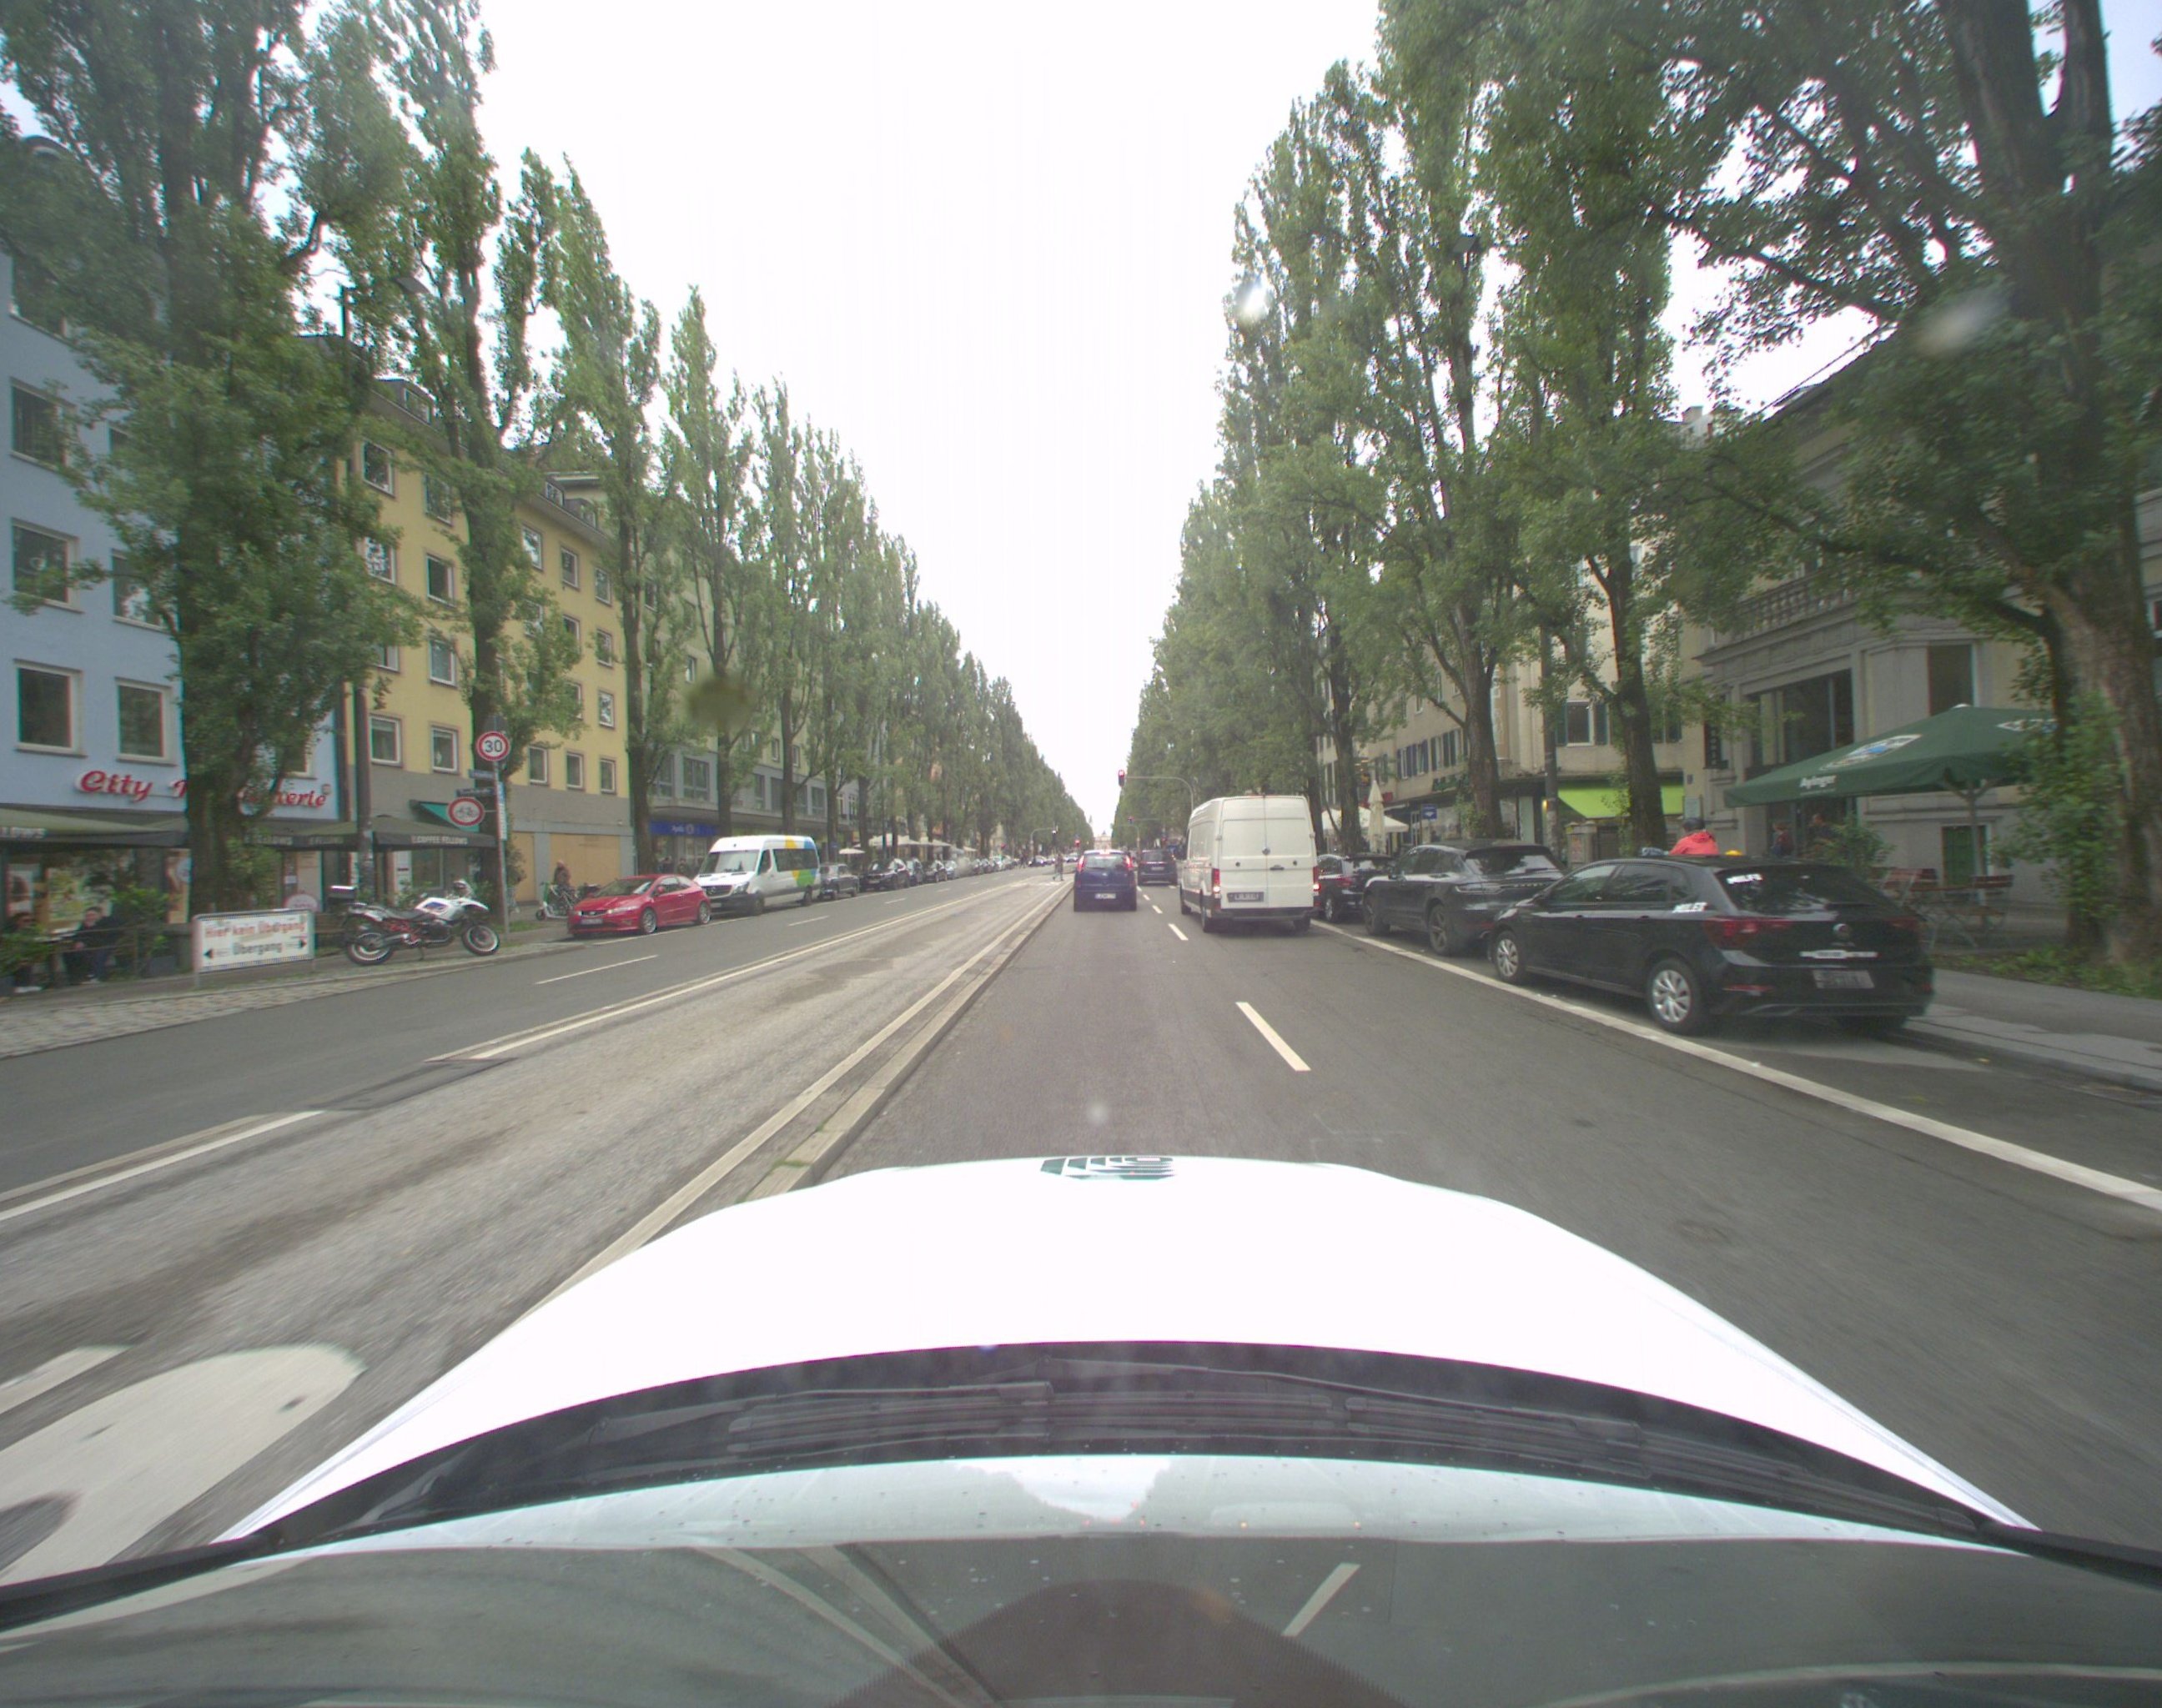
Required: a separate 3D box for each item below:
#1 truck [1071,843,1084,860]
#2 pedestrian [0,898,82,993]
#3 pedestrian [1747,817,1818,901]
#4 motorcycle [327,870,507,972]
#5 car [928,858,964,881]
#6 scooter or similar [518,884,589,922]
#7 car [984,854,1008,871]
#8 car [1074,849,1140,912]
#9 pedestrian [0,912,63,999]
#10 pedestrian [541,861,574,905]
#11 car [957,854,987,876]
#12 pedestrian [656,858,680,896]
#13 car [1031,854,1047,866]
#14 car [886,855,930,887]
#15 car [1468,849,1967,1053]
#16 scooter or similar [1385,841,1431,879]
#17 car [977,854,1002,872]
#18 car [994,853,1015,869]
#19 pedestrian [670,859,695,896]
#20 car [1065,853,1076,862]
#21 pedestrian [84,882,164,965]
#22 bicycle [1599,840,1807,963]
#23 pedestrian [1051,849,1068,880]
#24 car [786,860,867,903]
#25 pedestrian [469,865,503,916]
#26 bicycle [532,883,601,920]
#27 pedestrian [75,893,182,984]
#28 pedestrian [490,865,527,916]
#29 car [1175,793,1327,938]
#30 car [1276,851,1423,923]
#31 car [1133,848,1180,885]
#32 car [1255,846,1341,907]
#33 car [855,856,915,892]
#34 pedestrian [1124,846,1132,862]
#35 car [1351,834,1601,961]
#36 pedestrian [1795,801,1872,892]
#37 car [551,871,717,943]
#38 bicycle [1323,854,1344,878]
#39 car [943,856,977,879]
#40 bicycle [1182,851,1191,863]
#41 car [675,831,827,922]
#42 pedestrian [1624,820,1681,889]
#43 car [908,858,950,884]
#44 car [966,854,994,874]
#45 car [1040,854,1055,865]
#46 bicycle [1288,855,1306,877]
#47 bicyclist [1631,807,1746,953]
[{"bbox_3d":[-0.693,-0.468,170.635,2.374,3.346,7.113,-2,0,2],"label":"truck"},{"bbox_3d":[-16.291,1.403,12.612,0.711,1.362,0.700,-2,0,0],"label":"pedestrian"},{"bbox_3d":[14.486,0.097,16.845,0.866,1.677,0.804,-2,0,22],"label":"pedestrian"},{"bbox_3d":[-11.517,1.103,14.215,2.360,1.563,0.706,-1,0,-41],"label":"motorcycle"},{"bbox_3d":[-9.806,1.095,59.289,1.727,1.425,4.145,-4,0,1],"label":"car"},{"bbox_3d":[-15.633,1.438,24.161,1.768,1.026,0.421,-2,0,-2],"label":"scooter or similar"},{"bbox_3d":[-9.059,0.855,86.964,1.859,1.665,4.121,-4,0,1],"label":"car"},{"bbox_3d":[0.735,0.665,22.825,1.665,1.568,4.002,-1,0,2],"label":"car"},{"bbox_3d":[-15.813,1.487,11.945,0.813,1.182,0.700,-2,0,0],"label":"pedestrian"},{"bbox_3d":[-20.053,1.102,31.204,0.694,1.636,0.727,-2,0,4],"label":"pedestrian"},{"bbox_3d":[-9.473,0.937,71.180,1.859,1.665,4.121,-4,0,1],"label":"car"},{"bbox_3d":[-19.775,1.105,39.007,0.694,1.795,0.728,-2,0,6],"label":"pedestrian"},{"bbox_3d":[-5.591,0.740,107.947,1.691,1.462,4.714,-4,0,2],"label":"car"},{"bbox_3d":[-10.251,0.994,48.474,1.705,1.721,3.920,-4,0,-1],"label":"car"},{"bbox_3d":[5.529,0.687,7.840,1.689,1.416,3.950,-2,0,0],"label":"car"},{"bbox_3d":[12.627,0.213,31.540,0.634,1.376,2.493,-3,1,-2],"label":"scooter or similar"},{"bbox_3d":[-9.137,0.879,81.702,1.859,1.665,4.121,-4,0,1],"label":"car"},{"bbox_3d":[-8.854,0.795,94.240,1.859,1.665,4.121,-4,0,1],"label":"car"},{"bbox_3d":[-19.013,1.108,38.863,0.694,1.700,0.728,-2,0,6],"label":"pedestrian"},{"bbox_3d":[-1.794,0.597,141.420,1.728,1.465,3.366,-2,0,1],"label":"car"},{"bbox_3d":[-20.604,1.479,17.549,0.753,1.686,0.786,-2,0,4],"label":"pedestrian"},{"bbox_3d":[7.741,0.531,10.344,0.770,1.349,2.450,-2,0,1],"label":"bicycle"},{"bbox_3d":[-1.163,0.555,44.713,0.857,1.684,0.626,-2,0,-2],"label":"pedestrian"},{"bbox_3d":[-10.736,1.124,34.674,1.859,1.552,4.416,-4,0,1],"label":"car"},{"bbox_3d":[-19.499,1.204,26.690,0.691,1.636,0.567,-2,0,25],"label":"pedestrian"},{"bbox_3d":[-15.668,1.442,24.799,1.768,1.026,0.421,-2,0,-2],"label":"bicycle"},{"bbox_3d":[-15.533,1.360,13.308,0.695,1.362,0.848,-2,0,0],"label":"pedestrian"},{"bbox_3d":[-19.095,1.208,27.164,0.691,1.636,0.731,-2,0,26],"label":"pedestrian"},{"bbox_3d":[3.360,0.186,17.575,2.055,2.492,6.733,-1,0,2],"label":"car"},{"bbox_3d":[5.853,0.655,18.315,1.705,1.393,4.340,-1,0,-2],"label":"car"},{"bbox_3d":[3.468,0.544,37.960,1.889,1.622,4.002,-1,0,2],"label":"car"},{"bbox_3d":[5.809,0.566,22.099,1.587,1.518,2.729,-1,0,-1],"label":"car"},{"bbox_3d":[-10.285,1.024,43.107,1.859,1.664,4.612,-4,0,1],"label":"car"},{"bbox_3d":[5.533,0.028,95.633,0.719,1.827,0.885,0,-1,-8],"label":"pedestrian"},{"bbox_3d":[5.900,0.564,12.862,1.797,1.637,4.447,-1,0,0],"label":"car"},{"bbox_3d":[15.412,-0.143,16.702,0.867,1.796,0.777,-2,0,16],"label":"pedestrian"},{"bbox_3d":[-11.092,1.248,20.577,1.731,1.419,4.150,-4,0,1],"label":"car"},{"bbox_3d":[10.756,0.501,34.688,0.348,0.996,1.453,-3,0,-2],"label":"bicycle"},{"bbox_3d":[-9.628,1.036,65.125,1.859,1.665,4.402,-4,0,1],"label":"car"},{"bbox_3d":[12.612,0.369,97.342,0.770,1.349,2.450,-2,0,1],"label":"bicycle"},{"bbox_3d":[-10.865,0.645,27.574,1.998,2.567,6.914,-4,0,2],"label":"car"},{"bbox_3d":[14.387,0.021,20.529,0.794,1.677,0.877,-2,0,1],"label":"pedestrian"},{"bbox_3d":[-9.994,1.078,53.814,1.792,1.488,4.352,-4,0,1],"label":"car"},{"bbox_3d":[-9.395,0.922,76.177,1.859,1.665,4.121,-4,0,1],"label":"car"},{"bbox_3d":[-4.737,0.749,116.236,1.739,1.434,4.131,-4,0,1],"label":"car"},{"bbox_3d":[10.250,0.581,38.703,0.348,0.996,1.453,-3,0,-2],"label":"bicycle"},{"bbox_3d":[7.738,0.320,10.410,0.764,1.766,0.885,-2,0,1],"label":"bicyclist"}]
